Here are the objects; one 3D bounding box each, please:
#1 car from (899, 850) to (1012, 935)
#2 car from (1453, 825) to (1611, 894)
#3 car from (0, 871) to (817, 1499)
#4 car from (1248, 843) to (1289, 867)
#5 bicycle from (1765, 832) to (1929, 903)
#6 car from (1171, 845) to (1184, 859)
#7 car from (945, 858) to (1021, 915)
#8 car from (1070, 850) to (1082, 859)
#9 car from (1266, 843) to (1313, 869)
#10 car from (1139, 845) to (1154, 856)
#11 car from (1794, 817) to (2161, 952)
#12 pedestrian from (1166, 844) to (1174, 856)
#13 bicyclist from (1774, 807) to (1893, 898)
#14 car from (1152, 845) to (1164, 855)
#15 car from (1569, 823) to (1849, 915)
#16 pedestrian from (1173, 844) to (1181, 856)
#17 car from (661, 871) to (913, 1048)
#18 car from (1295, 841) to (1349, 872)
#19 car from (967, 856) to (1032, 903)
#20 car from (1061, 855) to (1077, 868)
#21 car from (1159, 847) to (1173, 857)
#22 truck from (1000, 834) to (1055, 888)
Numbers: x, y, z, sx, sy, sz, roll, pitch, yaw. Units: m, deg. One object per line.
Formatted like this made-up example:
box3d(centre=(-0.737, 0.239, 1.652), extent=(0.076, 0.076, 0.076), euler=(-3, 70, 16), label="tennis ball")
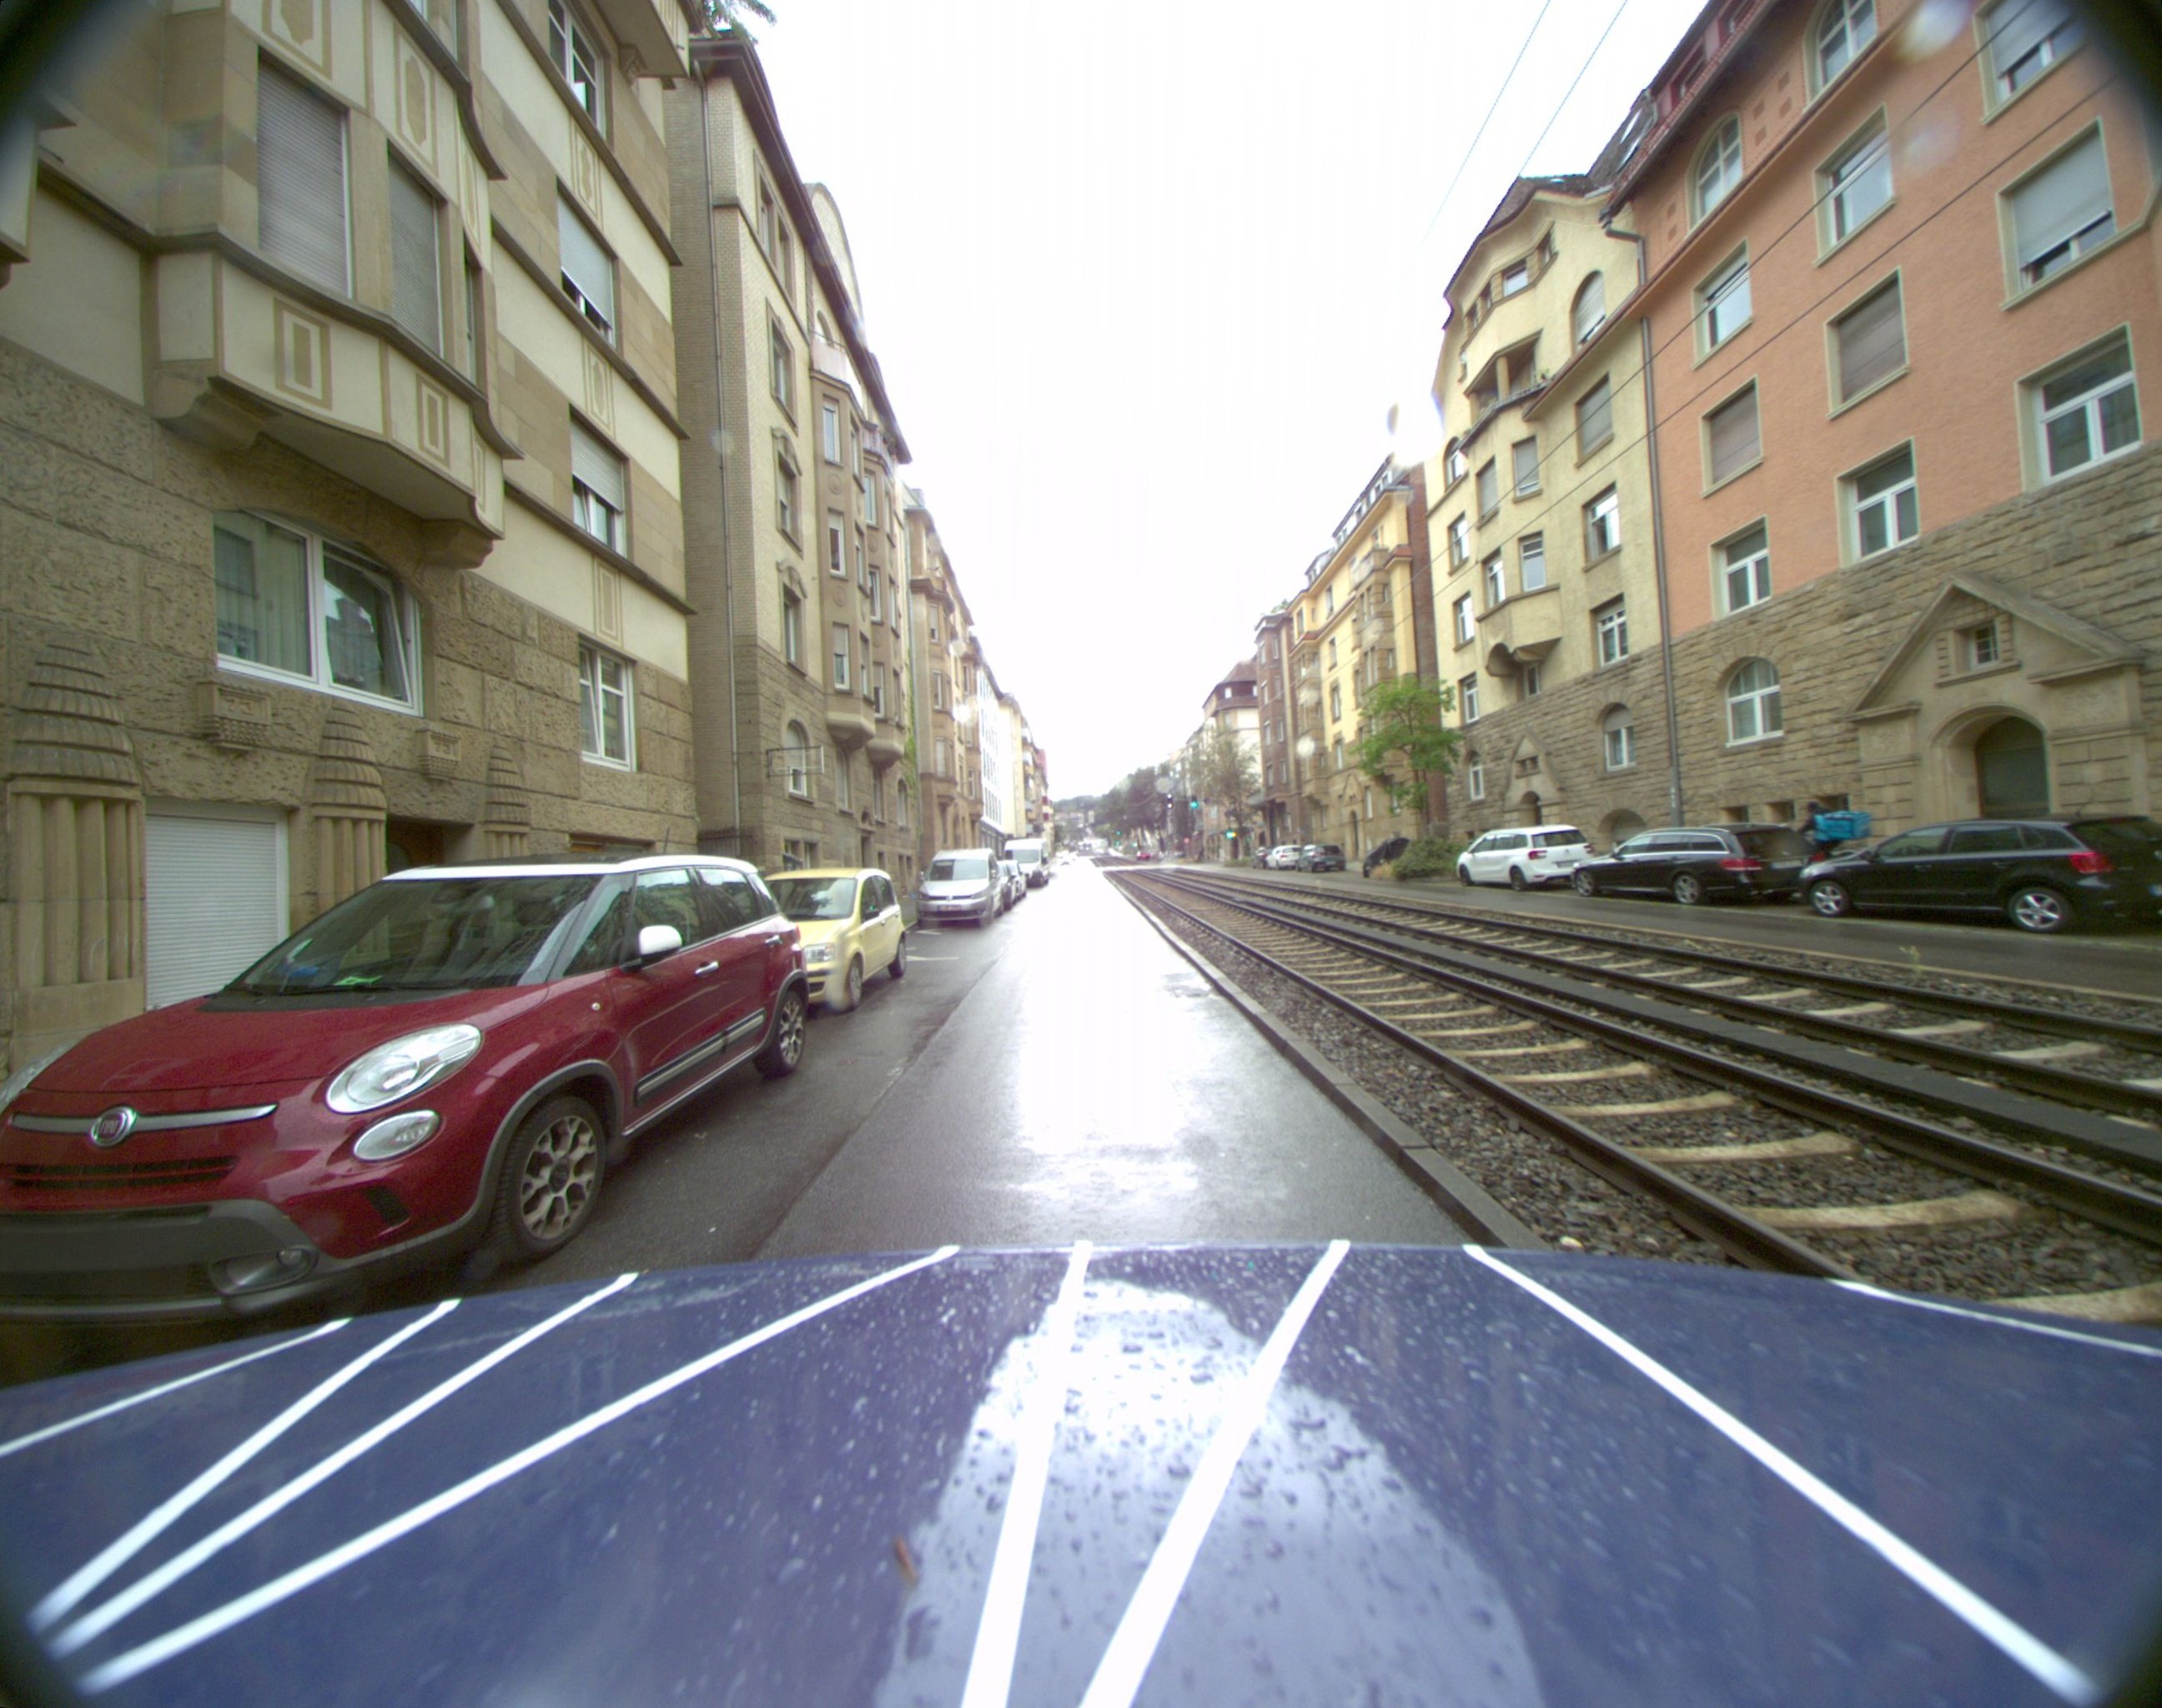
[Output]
box3d(centre=(-3.011, 0.848, 19.188), extent=(1.968, 1.792, 4.459), euler=(-3, 0, 1), label="car")
box3d(centre=(12.272, 0.133, 21.035), extent=(1.867, 1.646, 4.146), euler=(-3, 0, 1), label="car")
box3d(centre=(-3.034, 0.979, 4.081), extent=(1.807, 1.590, 3.999), euler=(-3, 0, -1), label="car")
box3d(centre=(12.483, 0.060, 50.736), extent=(1.771, 1.433, 3.845), euler=(-3, 0, 1), label="car")
box3d(centre=(14.175, 0.229, 14.163), extent=(0.826, 1.179, 2.036), euler=(-3, 0, -7), label="bicycle")
box3d(centre=(12.676, -0.251, 99.533), extent=(1.583, 1.669, 3.790), euler=(-3, 2, 7), label="car")
box3d(centre=(-2.964, 0.938, 23.805), extent=(1.999, 1.521, 3.999), euler=(-3, 0, -3), label="car")
box3d(centre=(-0.879, 0.060, 137.180), extent=(1.998, 1.562, 4.000), euler=(-3, 0, 1), label="car")
box3d(centre=(12.473, 0.114, 45.641), extent=(1.771, 1.433, 4.031), euler=(-3, 0, 2), label="car")
box3d(centre=(10.290, -0.568, 119.842), extent=(1.808, 1.514, 4.963), euler=(-3, 0, -1), label="car")
box3d(centre=(12.528, 0.314, 10.455), extent=(1.935, 1.488, 3.641), euler=(-2, 1, -2), label="car")
box3d(centre=(14.884, -0.650, 127.243), extent=(1.056, 1.946, 1.163), euler=(-3, 1, 2), label="pedestrian")
box3d(centre=(14.111, -0.029, 14.291), extent=(0.887, 1.588, 1.253), euler=(-4, 1, -6), label="bicyclist")
box3d(centre=(12.844, -0.654, 126.823), extent=(1.657, 1.589, 3.775), euler=(-3, 0, 1), label="car")
box3d(centre=(12.290, 0.246, 15.372), extent=(1.847, 1.486, 4.601), euler=(-3, 0, 1), label="car")
box3d(centre=(16.096, -0.695, 127.234), extent=(1.056, 1.946, 1.163), euler=(-3, 1, 2), label="pedestrian")
box3d(centre=(-3.190, 1.042, 9.030), extent=(1.580, 1.520, 3.578), euler=(-3, 0, -1), label="car")
box3d(centre=(12.505, 0.125, 39.602), extent=(1.678, 1.433, 3.845), euler=(-4, 1, 3), label="car")
box3d(centre=(-2.953, 0.880, 28.305), extent=(1.891, 1.521, 3.929), euler=(-3, 0, 1), label="car")
box3d(centre=(-1.734, 1.093, 110.749), extent=(1.998, 1.838, 4.000), euler=(-3, 0, 1), label="car")
box3d(centre=(12.874, -0.296, 115.353), extent=(1.771, 1.507, 3.845), euler=(-3, 0, 1), label="car")
box3d(centre=(-2.723, 0.339, 39.934), extent=(2.235, 2.521, 6.143), euler=(-3, 0, 1), label="truck")
